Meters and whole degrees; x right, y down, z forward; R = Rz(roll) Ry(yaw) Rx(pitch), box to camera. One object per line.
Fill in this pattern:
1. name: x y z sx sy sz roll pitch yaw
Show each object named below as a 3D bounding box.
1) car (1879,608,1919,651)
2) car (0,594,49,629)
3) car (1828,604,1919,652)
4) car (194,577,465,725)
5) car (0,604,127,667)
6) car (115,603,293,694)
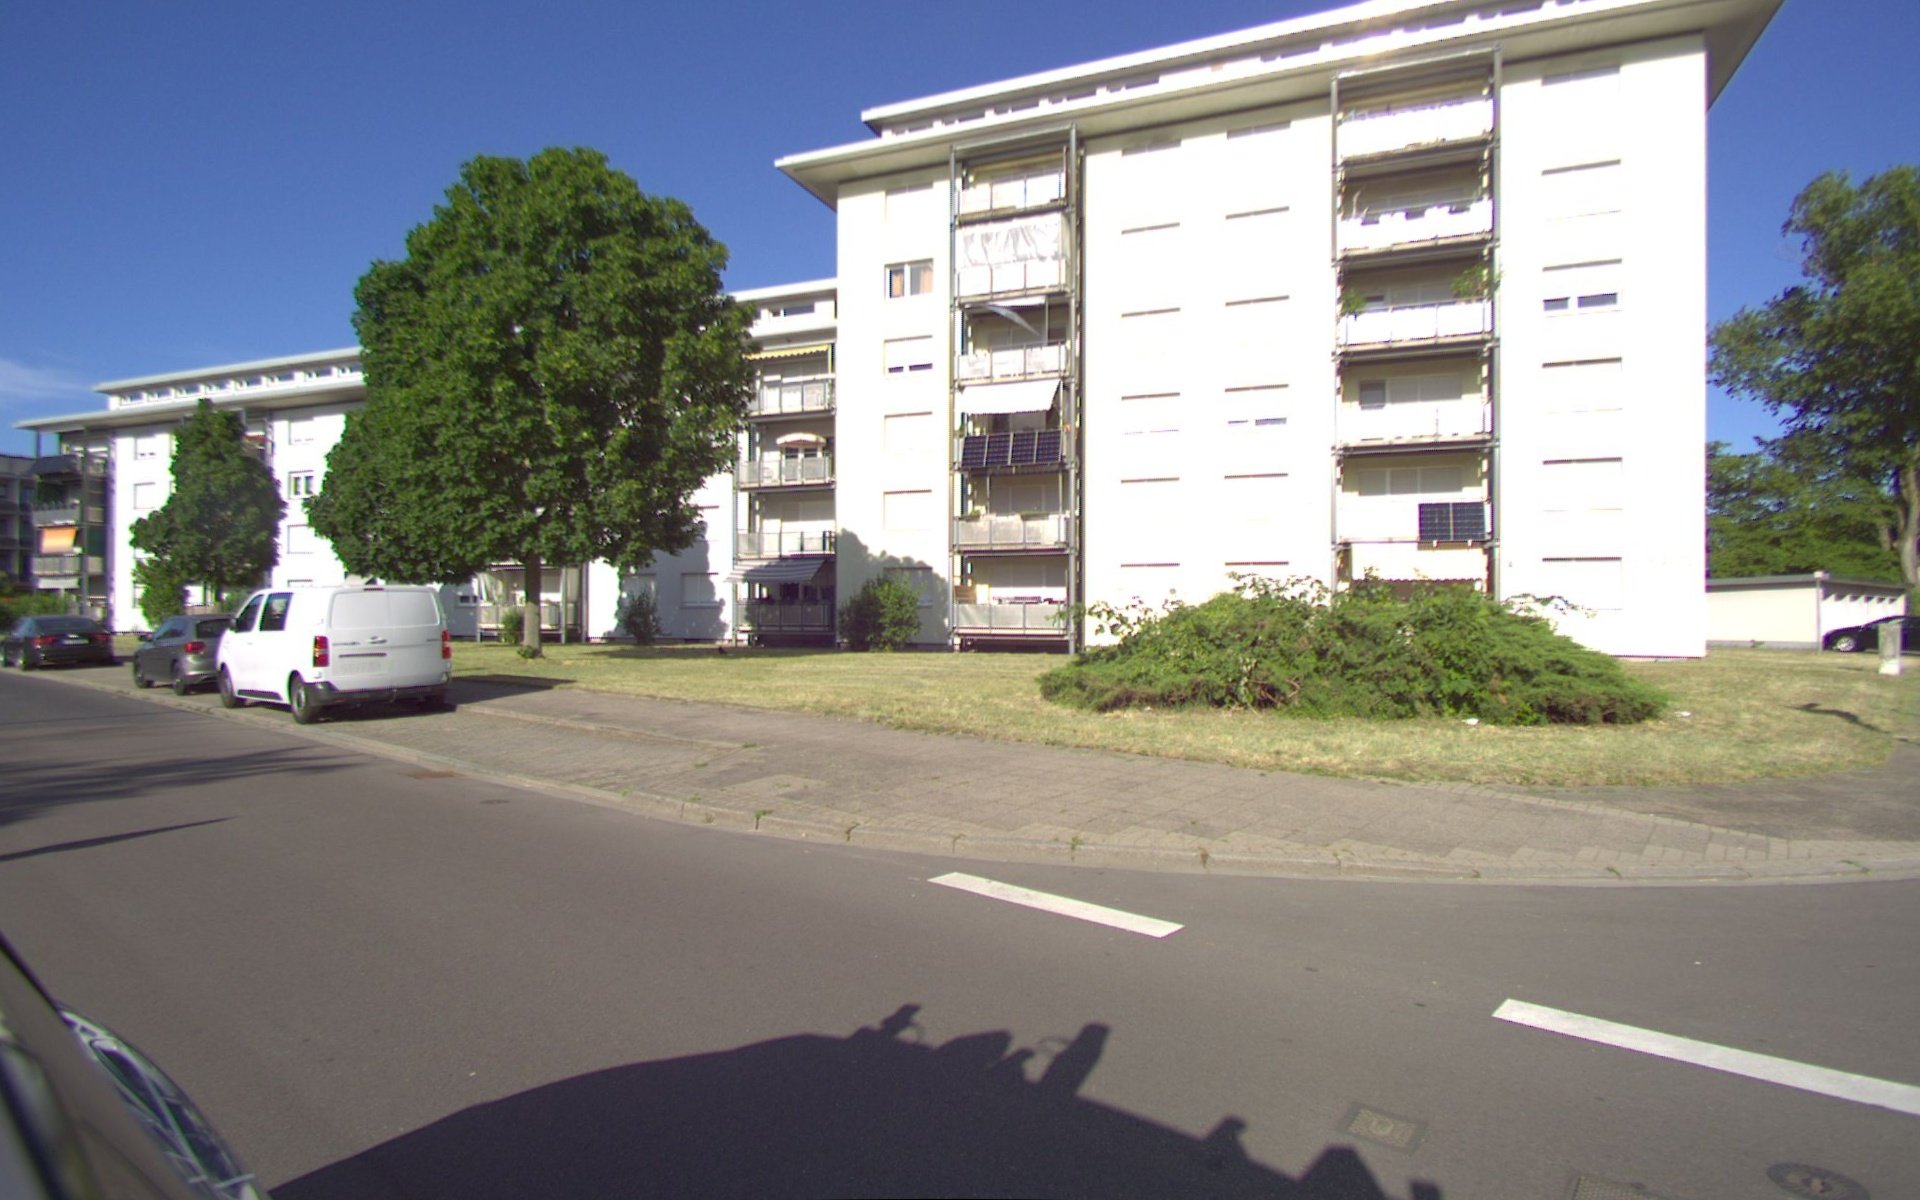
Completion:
1. car: 37.650 1.125 38.430 3.999 1.608 1.972 -1 -2 42
2. car: -69.378 0.850 72.381 2.206 2.447 5.858 -2 -3 32
3. car: 32.709 0.968 35.012 3.999 1.608 1.972 -1 -2 42
4. car: -9.736 0.639 15.438 5.186 1.900 1.994 0 1 40
5. car: -24.716 0.913 27.603 5.250 1.504 2.015 -1 1 39
6. car: -14.702 0.844 19.615 4.218 1.529 1.815 0 1 40
